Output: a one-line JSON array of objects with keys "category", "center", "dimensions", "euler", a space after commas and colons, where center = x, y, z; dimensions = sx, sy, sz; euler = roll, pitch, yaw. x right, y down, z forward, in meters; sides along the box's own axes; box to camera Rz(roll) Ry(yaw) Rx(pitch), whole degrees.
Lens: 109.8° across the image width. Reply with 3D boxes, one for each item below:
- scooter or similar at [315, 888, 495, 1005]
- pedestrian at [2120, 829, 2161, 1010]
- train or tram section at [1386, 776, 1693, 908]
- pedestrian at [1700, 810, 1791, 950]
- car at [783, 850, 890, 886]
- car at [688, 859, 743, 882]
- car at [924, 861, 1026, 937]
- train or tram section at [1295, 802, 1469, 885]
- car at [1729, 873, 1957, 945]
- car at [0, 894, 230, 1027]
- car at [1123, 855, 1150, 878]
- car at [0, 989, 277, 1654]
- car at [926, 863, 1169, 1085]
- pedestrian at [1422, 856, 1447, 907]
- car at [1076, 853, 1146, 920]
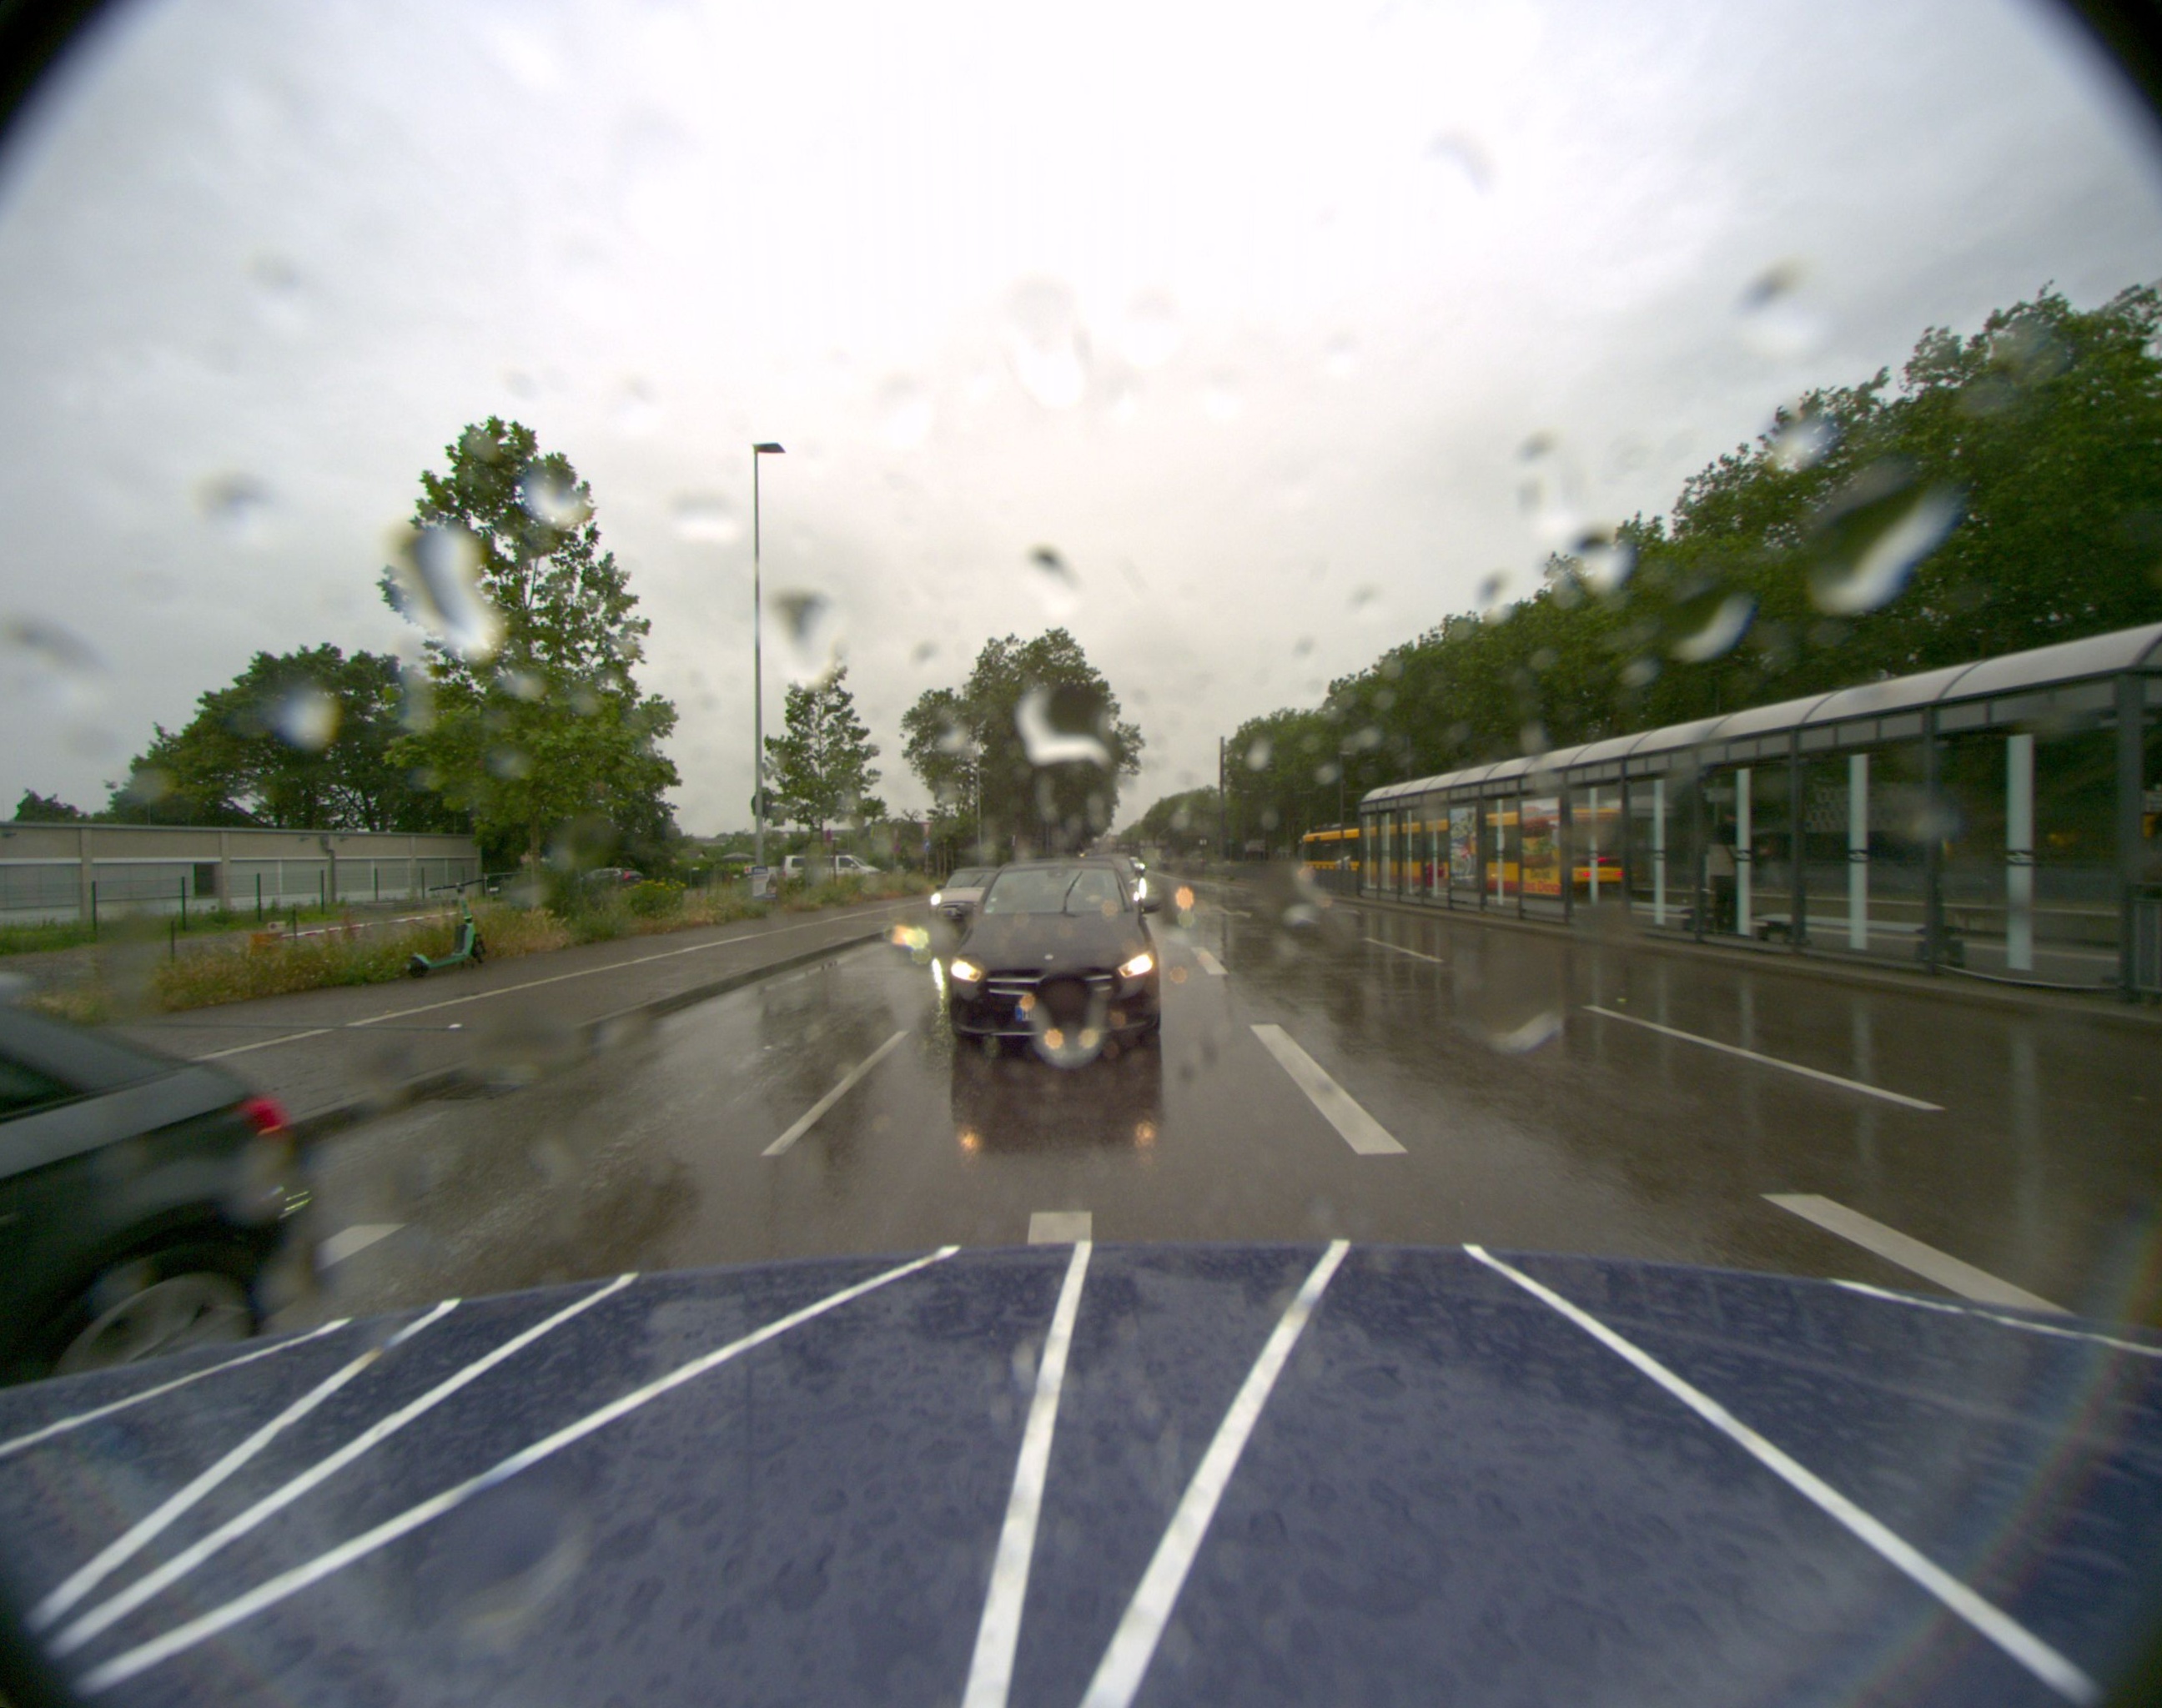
[{"category": "scooter or similar", "center": [-8.272, 1.074, 9.424], "dimensions": [0.367, 1.192, 1.913], "euler": [-2, 1, 4]}, {"category": "pedestrian", "center": [9.122, 0.544, 6.343], "dimensions": [0.321, 1.485, 0.415], "euler": [-3, 2, 6]}, {"category": "train or tram section", "center": [16.445, -0.430, 29.441], "dimensions": [3.751, 3.817, 13.252], "euler": [-2, 1, 0]}, {"category": "pedestrian", "center": [9.190, 0.346, 10.535], "dimensions": [0.655, 1.860, 0.773], "euler": [-2, 1, 17]}, {"category": "car", "center": [-13.438, 0.755, 42.011], "dimensions": [5.174, 1.715, 2.006], "euler": [-2, 1, -1]}, {"category": "car", "center": [-28.331, 1.272, 58.952], "dimensions": [3.552, 1.575, 1.345], "euler": [-2, 1, 6]}, {"category": "car", "center": [-2.427, 0.992, 18.285], "dimensions": [1.706, 1.499, 3.879], "euler": [-2, 1, 2]}, {"category": "train or tram section", "center": [16.473, -0.588, 43.866], "dimensions": [3.751, 3.777, 15.569], "euler": [-2, 1, 0]}, {"category": "car", "center": [16.498, 1.128, 16.721], "dimensions": [1.539, 1.311, 3.549], "euler": [0, 0, 2]}, {"category": "car", "center": [-12.113, 1.206, 8.762], "dimensions": [3.243, 1.281, 1.345], "euler": [-2, 1, 6]}, {"category": "car", "center": [4.741, 1.010, 65.106], "dimensions": [1.935, 1.765, 4.663], "euler": [-2, 1, 1]}, {"category": "car", "center": [-3.186, 1.092, 0.412], "dimensions": [1.601, 1.358, 3.630], "euler": [0, 0, 0]}, {"category": "car", "center": [-0.235, 0.914, 7.737], "dimensions": [1.758, 1.572, 4.169], "euler": [-2, 0, 0]}, {"category": "pedestrian", "center": [8.635, 0.667, 18.553], "dimensions": [0.458, 1.229, 0.467], "euler": [-1, 2, 15]}, {"category": "car", "center": [0.780, 0.781, 20.483], "dimensions": [1.689, 1.611, 4.000], "euler": [0, 0, 2]}]
